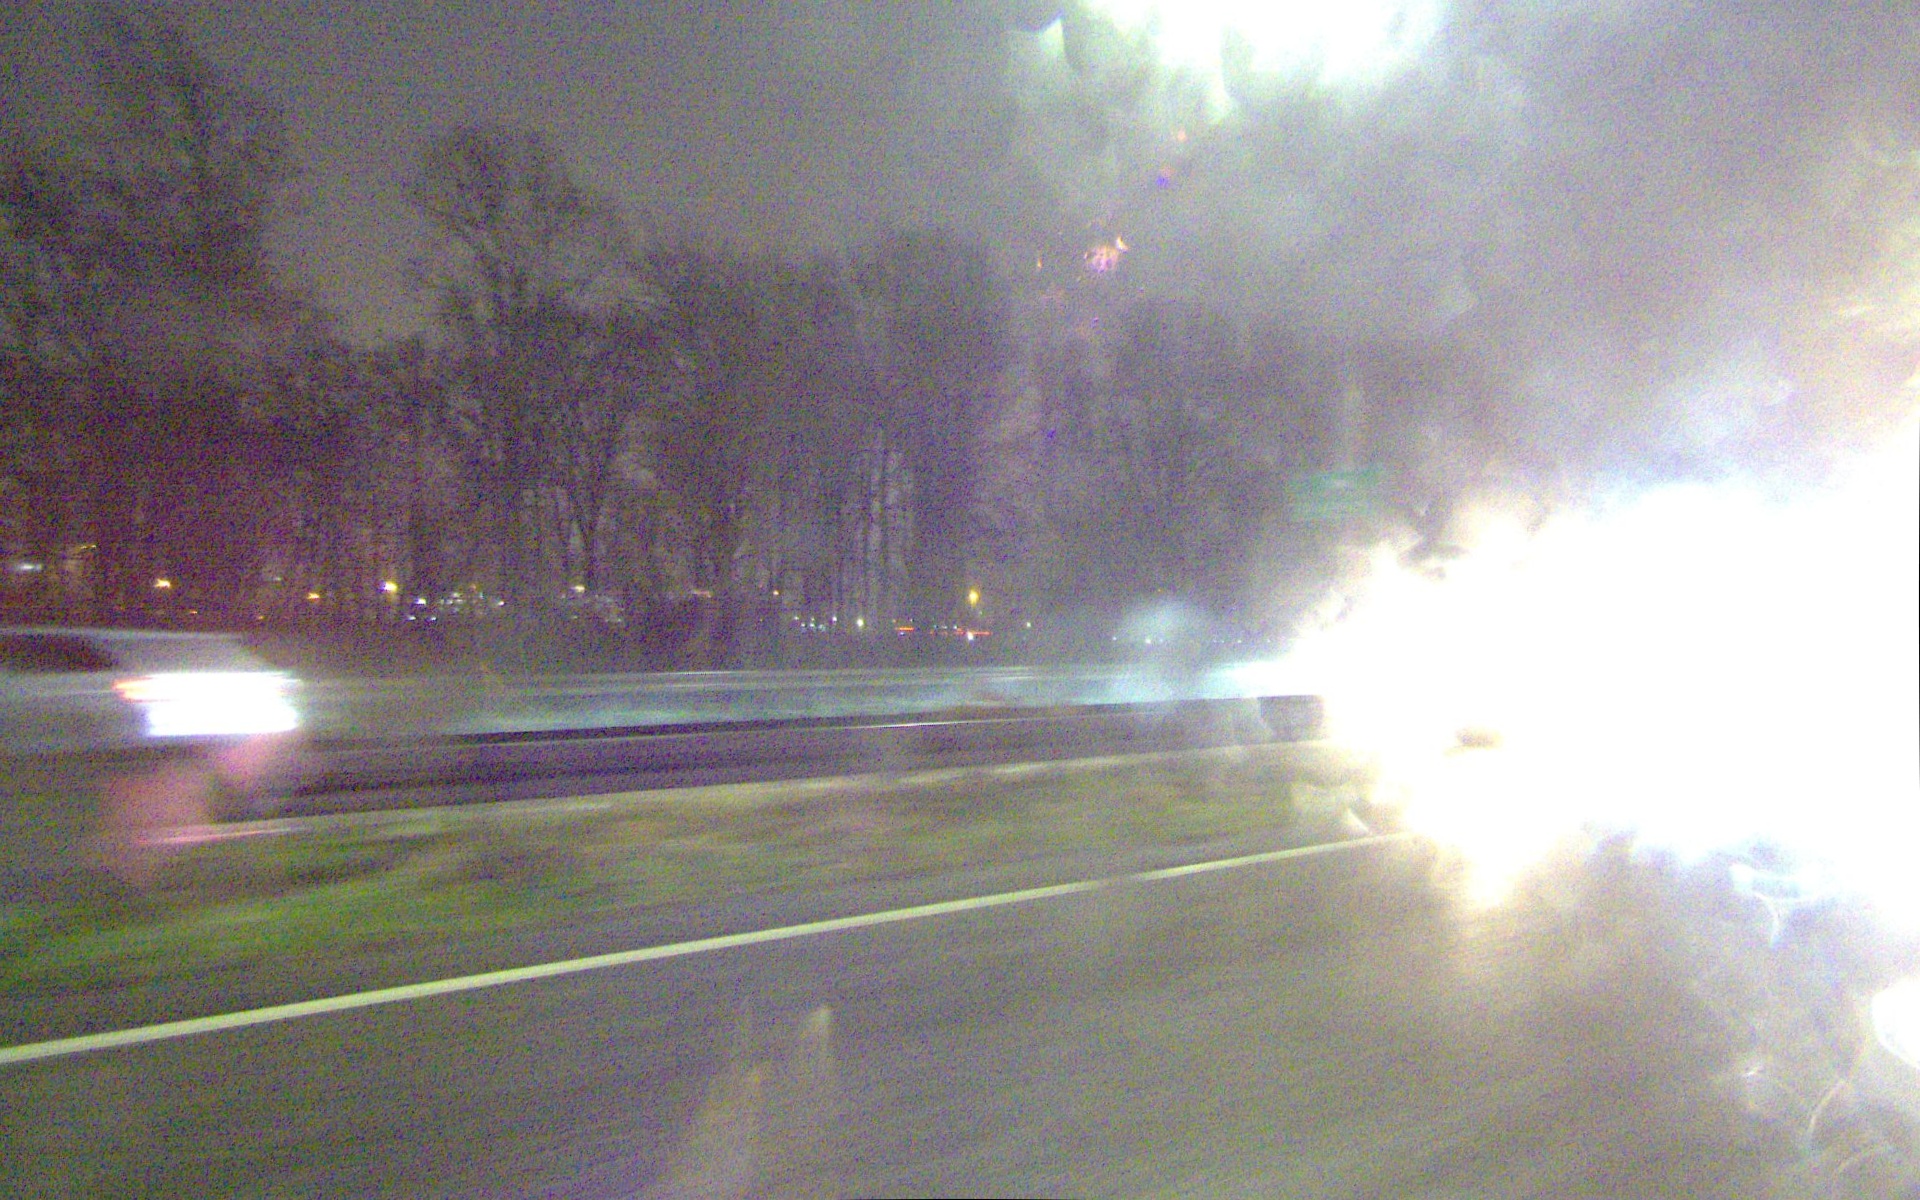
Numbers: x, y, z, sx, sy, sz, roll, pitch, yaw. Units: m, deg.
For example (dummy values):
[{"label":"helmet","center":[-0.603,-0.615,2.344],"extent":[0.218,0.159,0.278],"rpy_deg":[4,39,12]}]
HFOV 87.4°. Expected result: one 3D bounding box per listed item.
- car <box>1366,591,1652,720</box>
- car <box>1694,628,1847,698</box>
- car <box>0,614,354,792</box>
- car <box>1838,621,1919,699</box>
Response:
[{"label":"car","center":[8.971,0.872,16.317],"extent":[4.652,1.798,1.983],"rpy_deg":[3,0,-31]},{"label":"car","center":[23.644,1.813,29.268],"extent":[4.652,1.798,1.983],"rpy_deg":[3,0,-31]},{"label":"car","center":[-9.004,0.971,10.137],"extent":[4.840,1.522,2.013],"rpy_deg":[3,0,-30]},{"label":"car","center":[24.828,1.568,25.764],"extent":[4.652,1.798,2.153],"rpy_deg":[3,0,-31]}]
